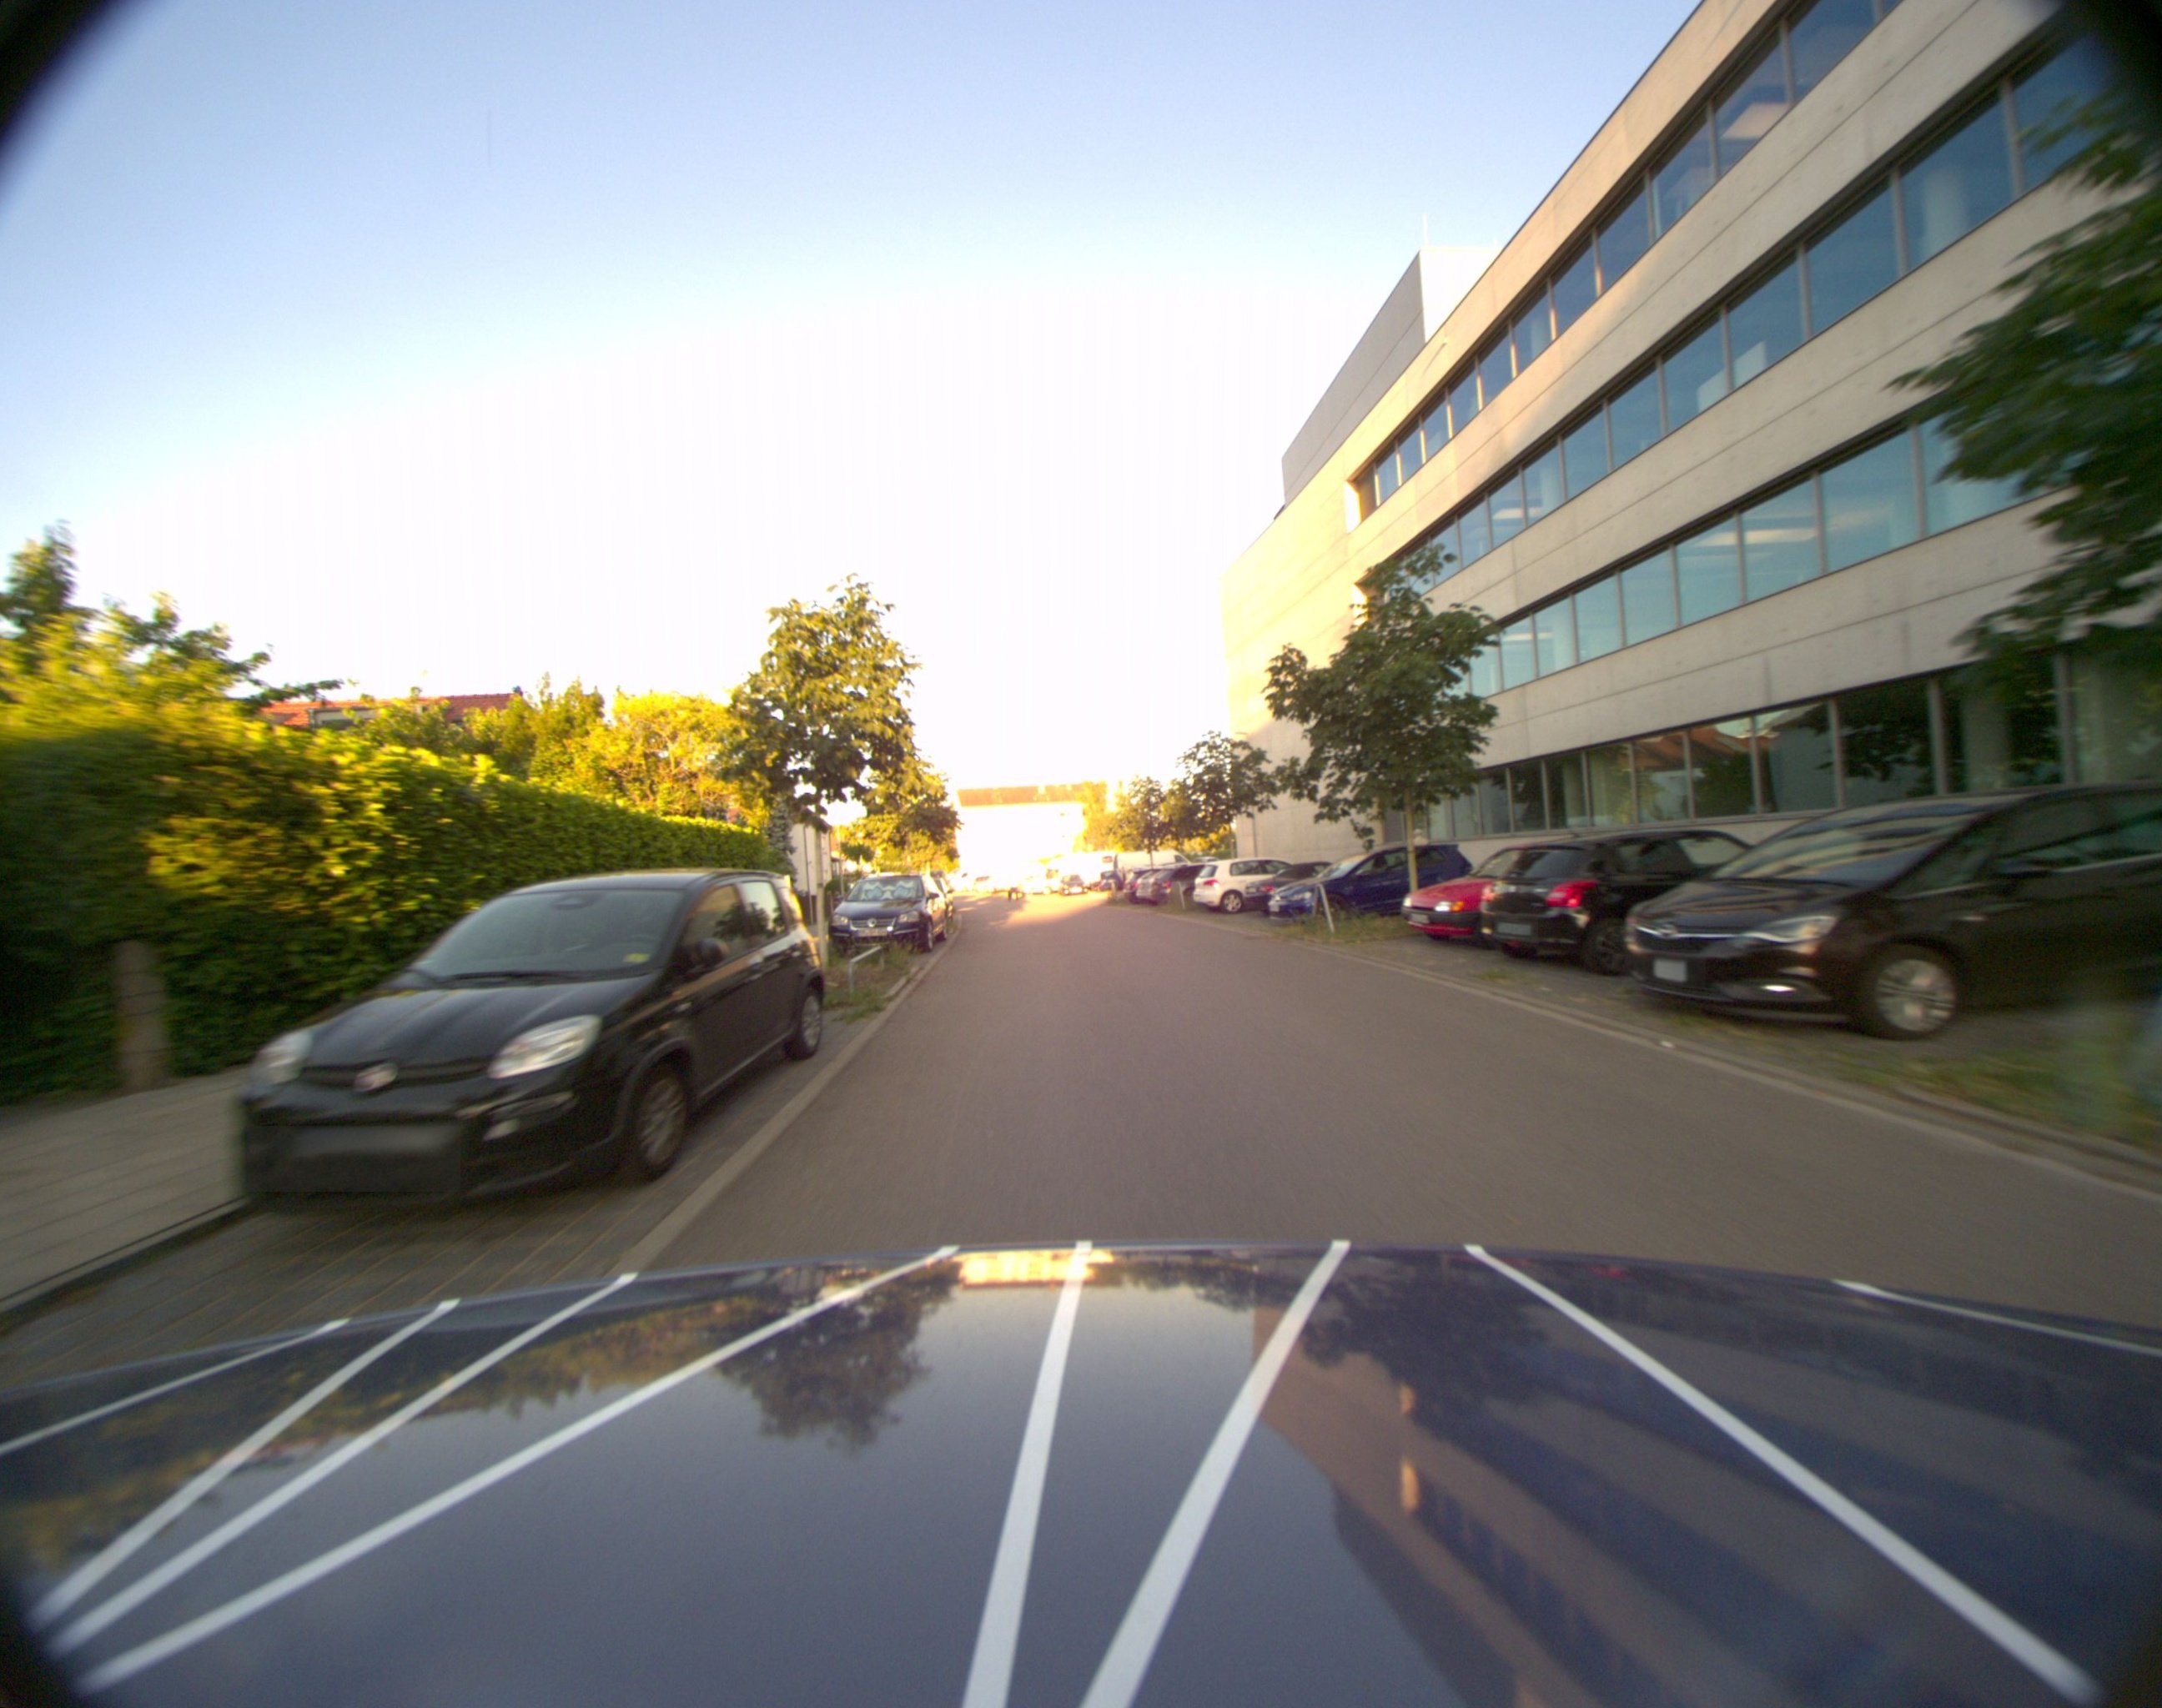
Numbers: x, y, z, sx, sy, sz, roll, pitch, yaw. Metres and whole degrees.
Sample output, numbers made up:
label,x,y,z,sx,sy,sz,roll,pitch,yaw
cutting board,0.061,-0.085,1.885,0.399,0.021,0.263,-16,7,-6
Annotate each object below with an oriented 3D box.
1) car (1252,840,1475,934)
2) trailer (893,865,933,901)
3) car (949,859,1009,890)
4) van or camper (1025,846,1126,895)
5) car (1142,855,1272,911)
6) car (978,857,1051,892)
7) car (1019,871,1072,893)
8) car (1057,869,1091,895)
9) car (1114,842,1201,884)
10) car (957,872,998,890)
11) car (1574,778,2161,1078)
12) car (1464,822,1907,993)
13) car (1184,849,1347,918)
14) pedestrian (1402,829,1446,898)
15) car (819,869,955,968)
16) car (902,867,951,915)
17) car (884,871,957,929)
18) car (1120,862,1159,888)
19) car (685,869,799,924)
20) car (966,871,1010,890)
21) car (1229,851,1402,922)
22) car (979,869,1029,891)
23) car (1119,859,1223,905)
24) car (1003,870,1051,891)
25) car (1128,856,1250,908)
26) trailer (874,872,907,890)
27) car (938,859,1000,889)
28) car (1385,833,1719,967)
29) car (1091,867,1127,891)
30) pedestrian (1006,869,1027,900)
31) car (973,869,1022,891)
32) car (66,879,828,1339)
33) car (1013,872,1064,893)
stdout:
label,x,y,z,sx,sy,sz,roll,pitch,yaw
car,5.801,0.657,15.859,3.881,1.502,1.759,-5,-1,-6
trailer,-11.469,1.967,51.591,2.072,2.198,5.216,-3,-1,-17
car,-11.097,2.179,82.556,5.850,2.697,2.047,-6,0,-25
van or camper,-0.407,1.190,55.529,6.764,2.880,2.406,-5,0,-14
car,4.317,0.989,26.205,4.012,1.503,1.584,-5,-2,-13
car,-6.013,1.849,68.376,5.910,2.519,2.408,-6,1,-18
car,-2.807,2.220,60.156,3.822,1.321,1.690,-5,0,-20
car,-0.539,1.838,51.213,1.692,1.510,4.359,-5,0,-7
car,6.003,0.702,60.137,6.264,2.657,2.221,-5,0,-13
car,-10.879,2.811,79.844,3.942,1.498,1.787,-5,0,-22
car,6.555,0.402,5.756,4.320,1.686,1.896,-5,0,-1
car,6.654,0.541,8.624,3.712,1.449,1.678,-5,0,-4
car,5.145,0.816,21.497,3.999,1.502,1.759,-5,-1,-6
pedestrian,9.191,0.254,20.398,0.647,1.773,0.725,-5,0,-7
car,-3.583,1.128,14.842,1.715,1.540,4.547,-3,-1,-4
car,-7.445,1.753,36.930,2.072,2.082,4.869,-3,-1,-10
car,-4.891,1.370,23.570,1.745,1.542,3.639,-3,-1,-6
car,3.940,1.397,51.787,1.668,1.471,4.200,-6,1,-9
car,-19.629,2.458,44.231,5.581,2.676,2.053,-4,-2,-9
car,-9.085,2.568,73.915,3.940,1.581,1.746,-5,0,-15
car,5.749,0.784,18.816,3.645,1.353,1.685,-5,-1,-11
car,-7.156,2.381,70.310,4.142,1.581,1.745,-6,1,-20
car,3.692,1.160,31.443,3.747,1.473,1.768,-5,-1,-12
car,-4.634,2.276,65.168,3.643,1.510,1.703,-5,0,-22
car,4.067,1.042,28.879,4.100,1.519,1.845,-5,-1,-13
trailer,-30.656,4.304,122.214,4.811,2.419,2.130,-5,1,-22
car,-12.701,2.293,86.576,6.416,2.697,2.109,-6,2,-30
car,6.580,0.599,10.852,3.713,1.449,1.711,-5,0,-6
car,1.863,1.648,51.193,1.668,1.414,3.720,-4,-1,-9
pedestrian,-4.045,1.926,47.478,0.903,1.839,0.854,-3,-1,-32
car,-7.942,2.471,72.132,4.143,1.581,1.745,-6,1,-22
car,-2.887,0.983,4.525,1.581,1.500,3.496,-3,0,-1
car,-3.515,2.329,62.691,3.741,1.359,1.703,-5,0,-22
